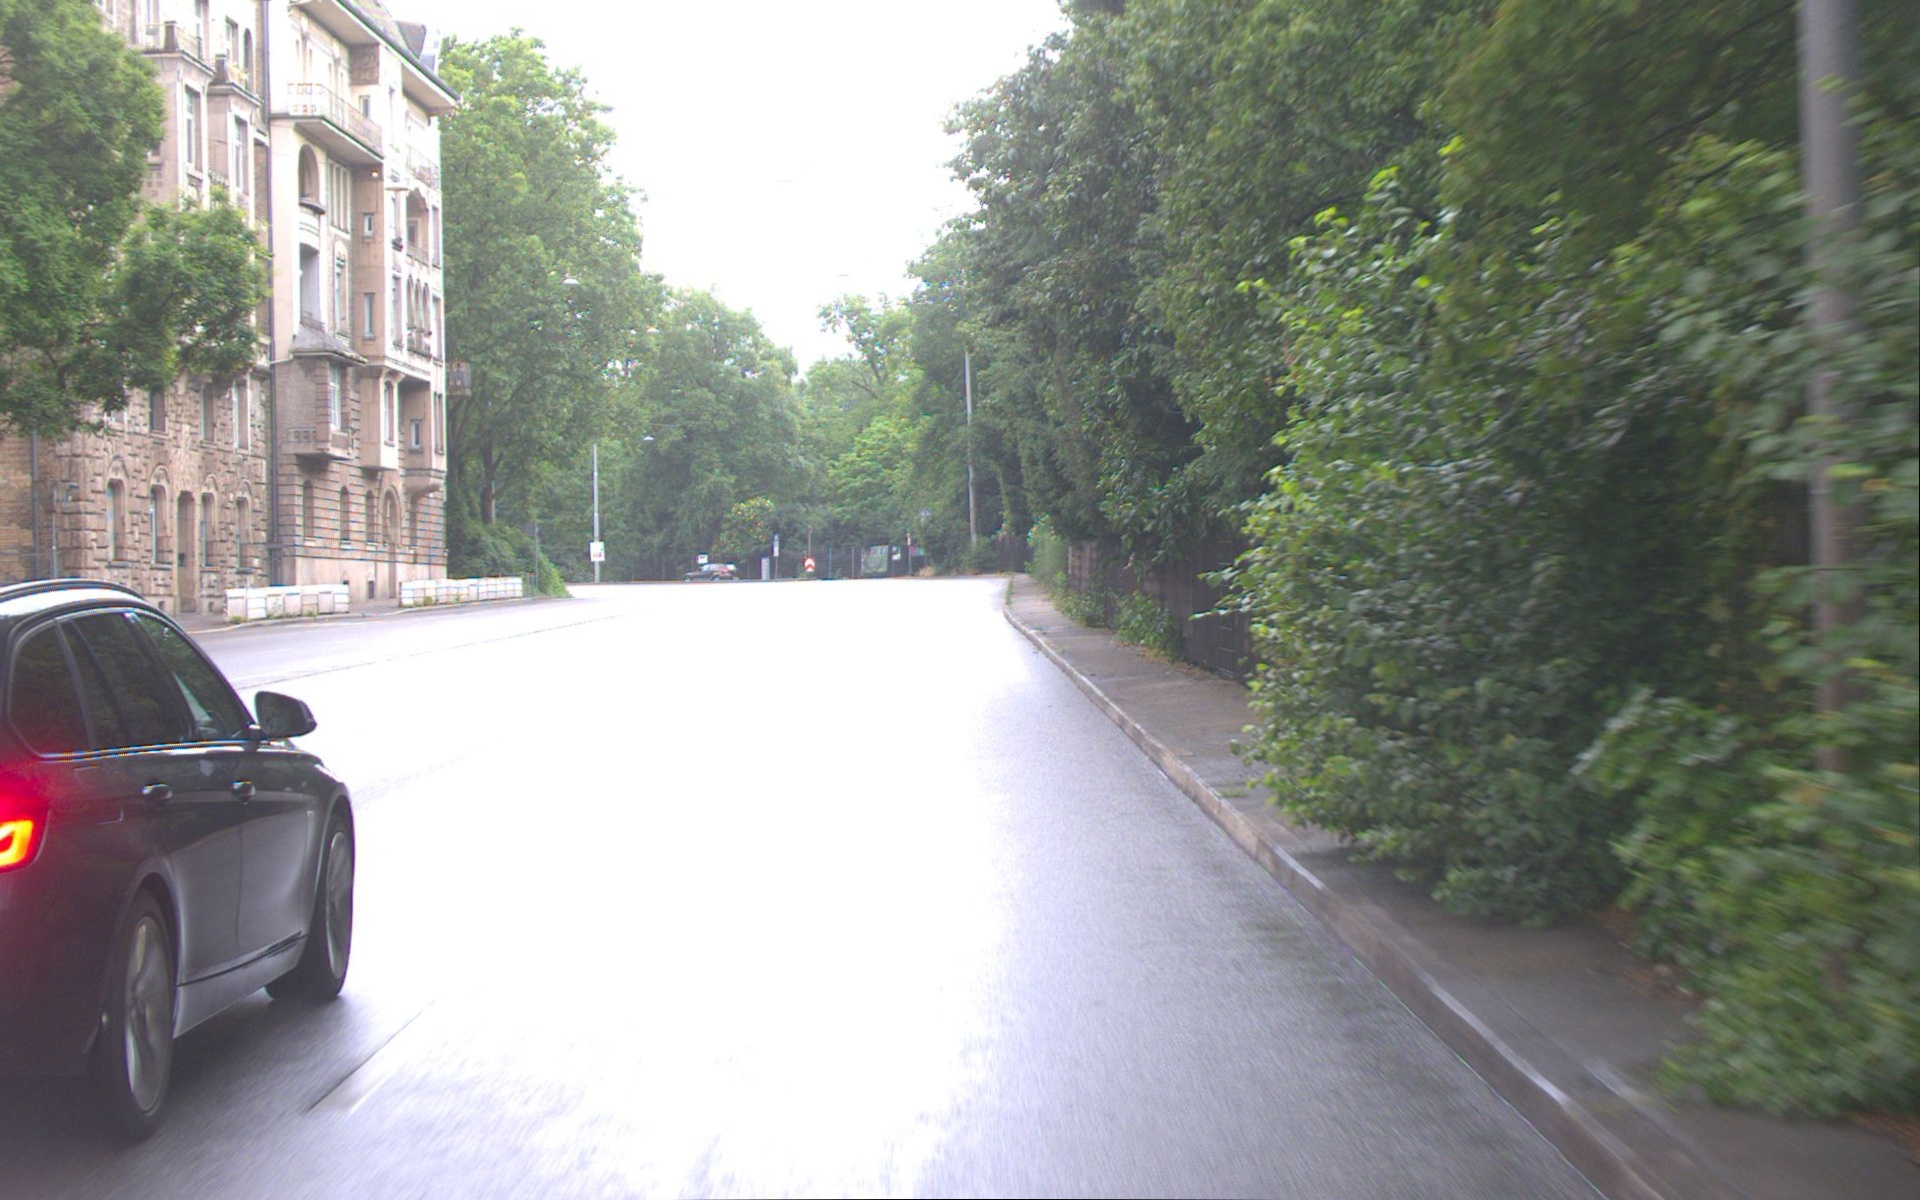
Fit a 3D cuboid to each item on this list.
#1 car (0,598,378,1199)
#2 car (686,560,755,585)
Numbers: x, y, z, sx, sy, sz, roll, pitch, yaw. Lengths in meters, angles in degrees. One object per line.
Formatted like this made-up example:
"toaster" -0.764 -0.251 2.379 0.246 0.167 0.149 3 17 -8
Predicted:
"car" -2.926 0.738 9.895 1.757 1.427 4.413 1 1 0
"car" -14.657 -1.649 210.576 4.368 1.422 1.688 0 -2 44
